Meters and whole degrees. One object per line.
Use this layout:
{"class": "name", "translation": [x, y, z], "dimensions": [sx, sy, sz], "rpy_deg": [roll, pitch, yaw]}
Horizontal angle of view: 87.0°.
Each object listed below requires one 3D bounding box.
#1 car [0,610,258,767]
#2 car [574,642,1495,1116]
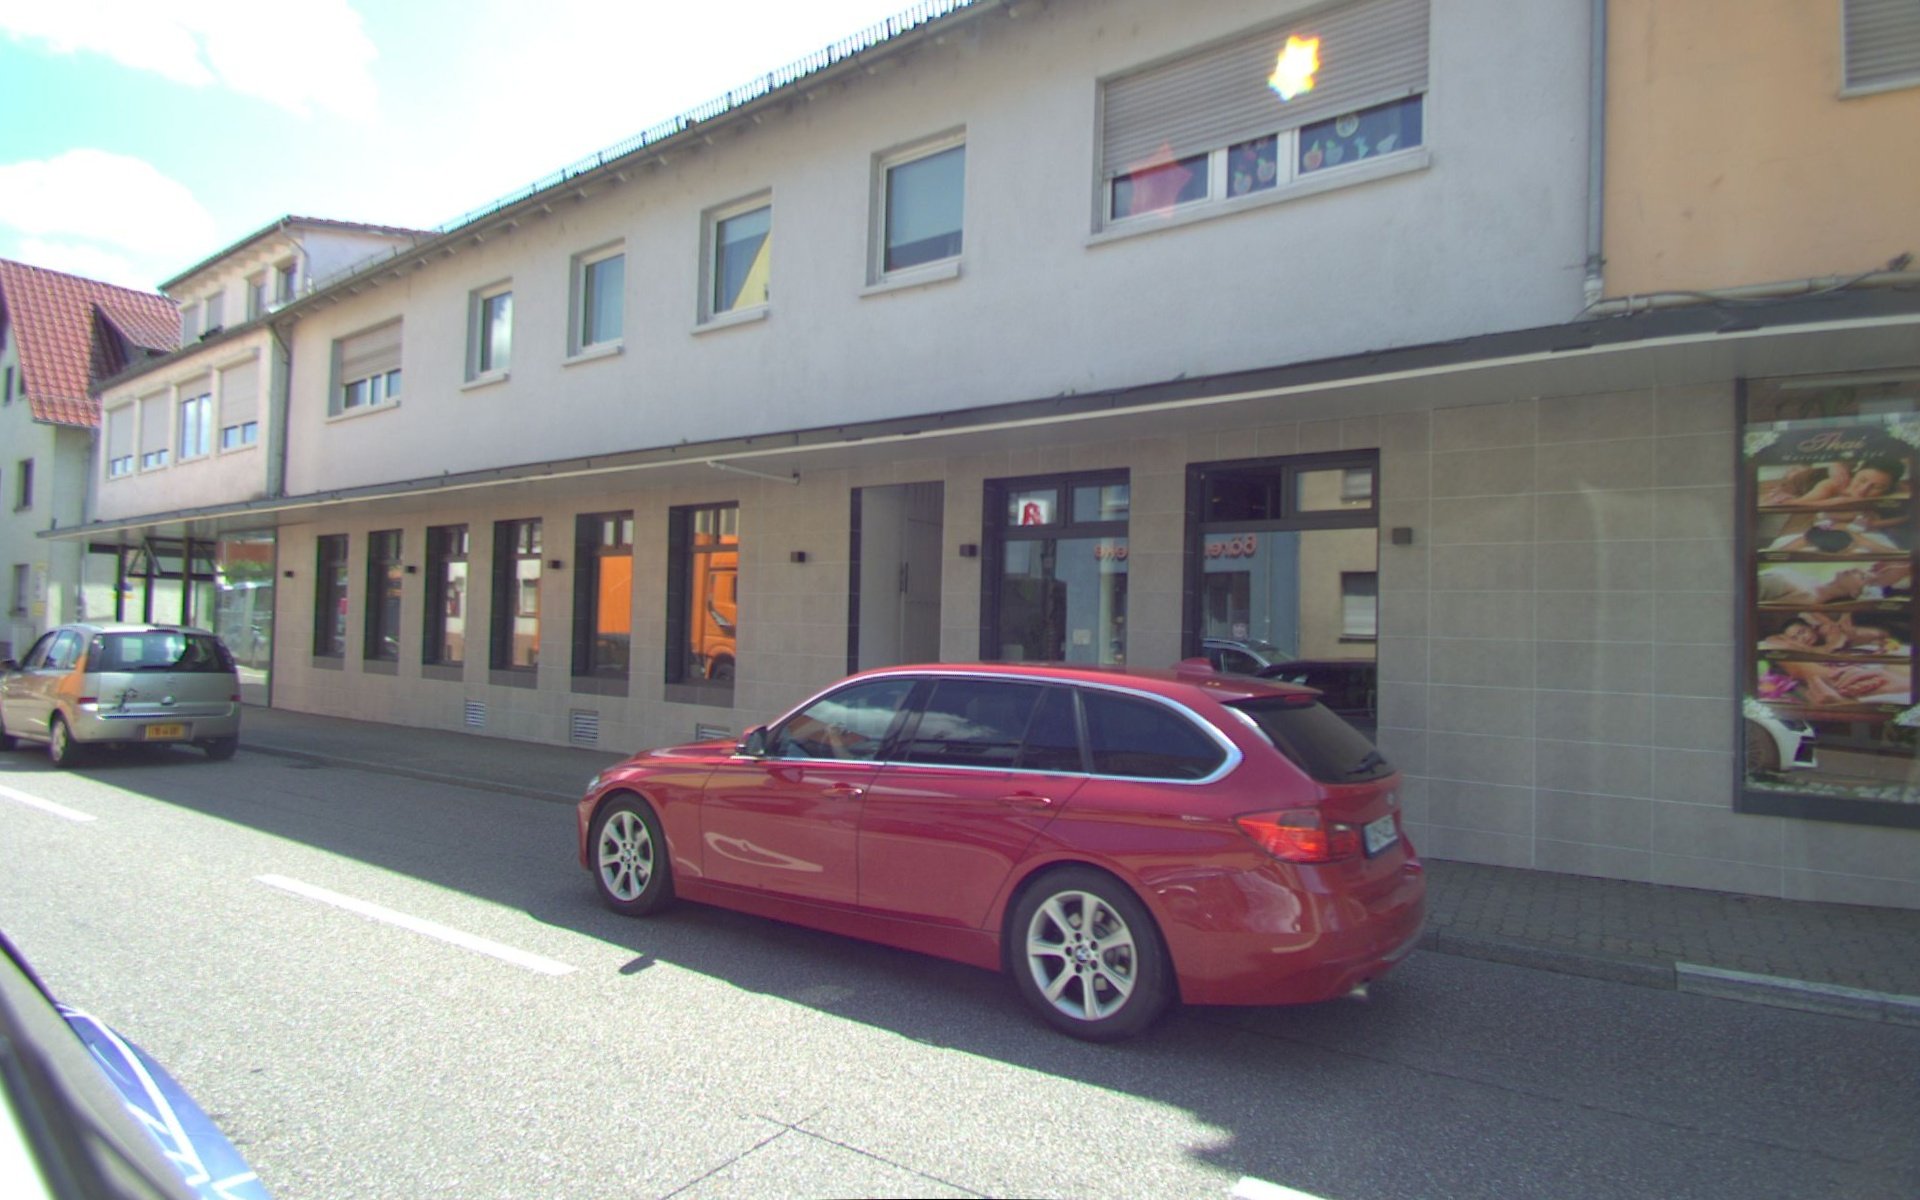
{"class": "car", "translation": [-10.387, 1.054, 12.295], "dimensions": [3.810, 1.629, 1.665], "rpy_deg": [-2, -7, 34]}
{"class": "car", "translation": [0.128, 0.962, 5.026], "dimensions": [4.275, 1.419, 1.702], "rpy_deg": [-2, -5, 35]}
